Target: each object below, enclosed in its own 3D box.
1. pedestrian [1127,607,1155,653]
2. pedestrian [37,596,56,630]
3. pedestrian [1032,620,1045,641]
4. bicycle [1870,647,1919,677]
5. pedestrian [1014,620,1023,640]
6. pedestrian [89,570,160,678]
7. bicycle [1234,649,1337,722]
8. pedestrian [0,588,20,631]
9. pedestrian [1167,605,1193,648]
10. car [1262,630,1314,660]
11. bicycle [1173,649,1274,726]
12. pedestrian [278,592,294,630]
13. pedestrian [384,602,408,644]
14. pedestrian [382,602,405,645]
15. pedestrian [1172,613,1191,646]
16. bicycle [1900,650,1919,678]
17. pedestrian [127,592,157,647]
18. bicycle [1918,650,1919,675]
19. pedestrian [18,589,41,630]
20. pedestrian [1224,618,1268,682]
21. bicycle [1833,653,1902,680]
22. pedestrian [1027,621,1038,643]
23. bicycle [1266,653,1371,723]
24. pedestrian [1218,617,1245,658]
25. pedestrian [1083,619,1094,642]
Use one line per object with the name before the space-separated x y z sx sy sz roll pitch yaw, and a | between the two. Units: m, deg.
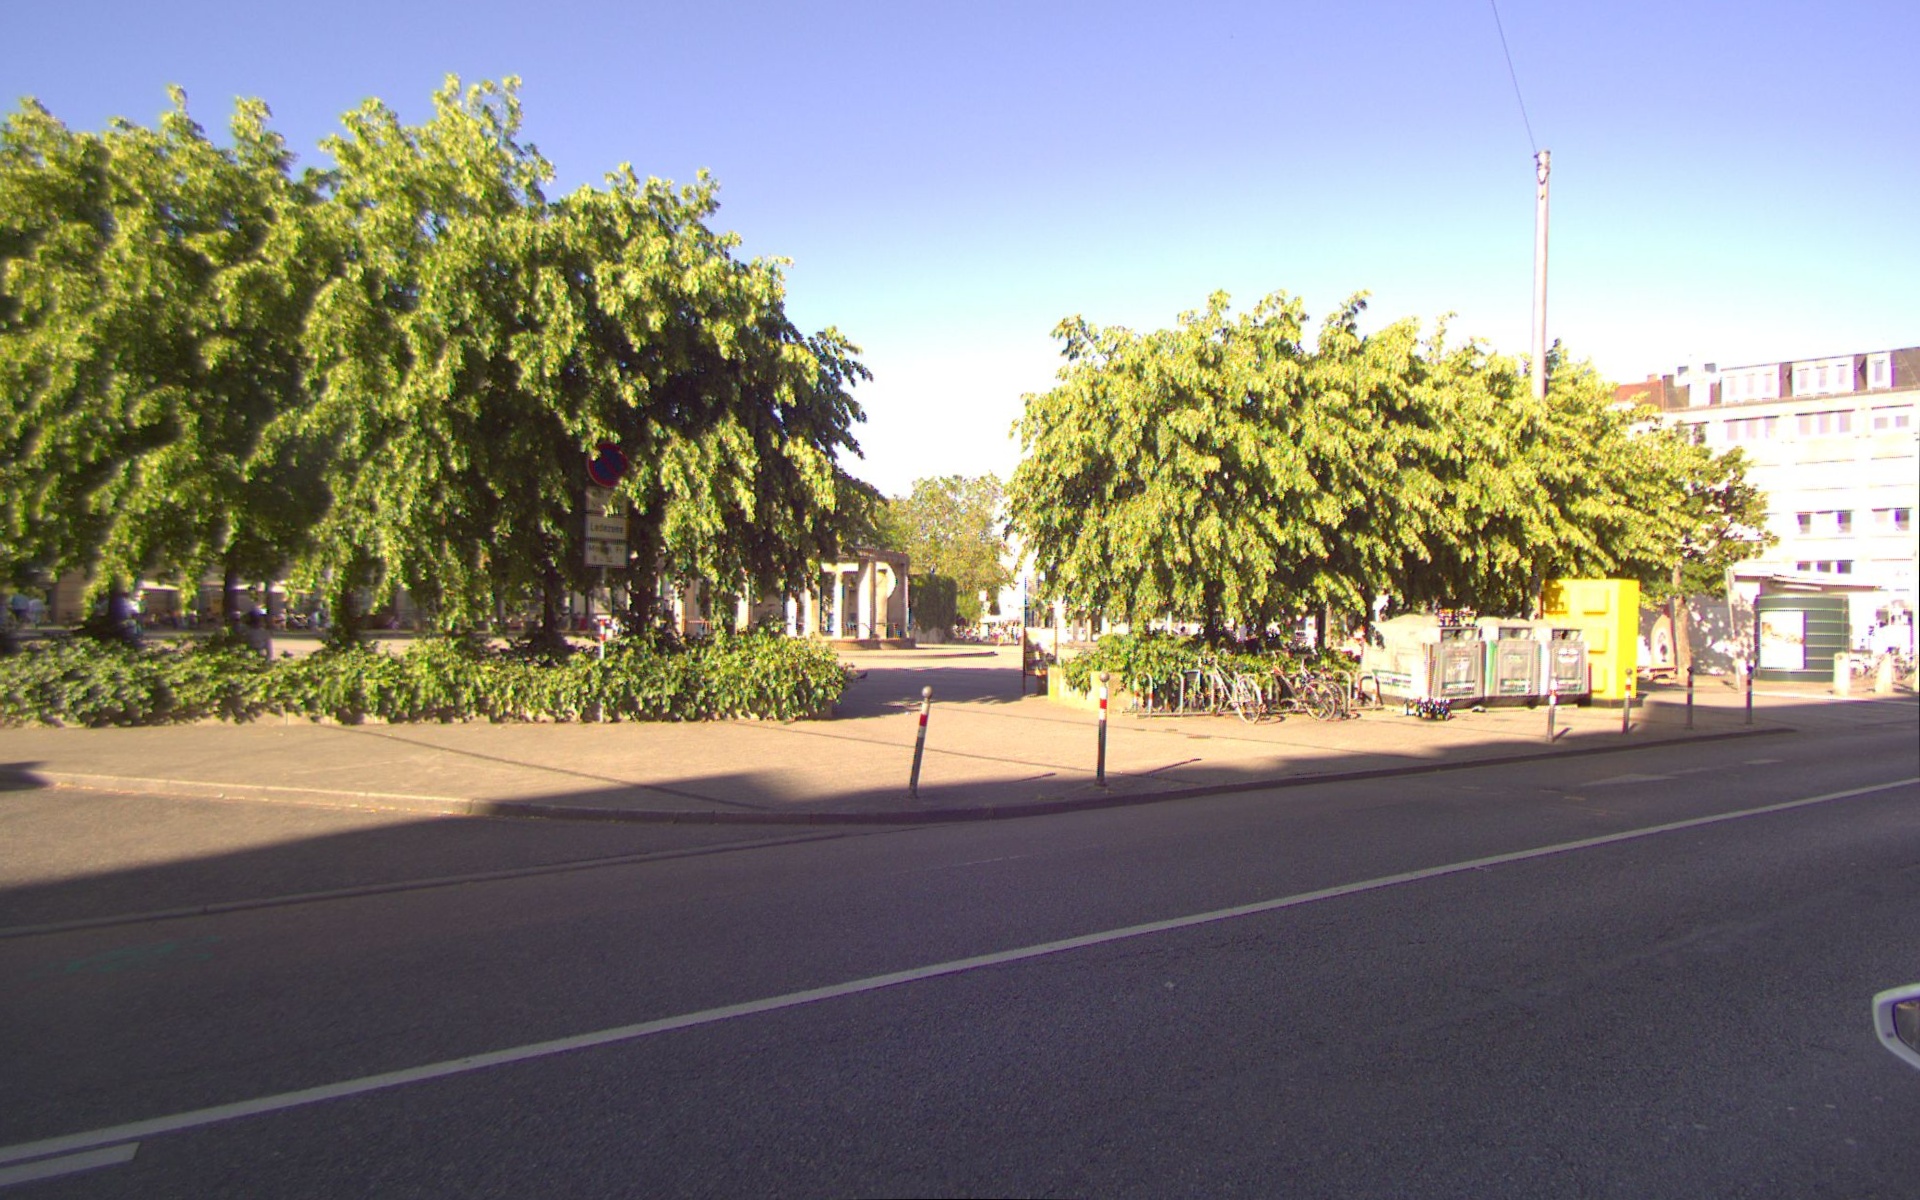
pedestrian | 8.071 1.342 44.794 0.875 2.040 0.896 1 0 -17
pedestrian | -48.006 0.691 52.781 0.599 1.744 0.644 2 0 39
pedestrian | 7.610 2.957 97.579 1.014 2.040 1.159 2 0 -5
bicycle | 33.164 2.172 35.146 0.599 0.946 1.855 1 -1 -30
pedestrian | 5.561 2.857 95.237 0.718 1.862 0.697 2 0 -5
pedestrian | -13.255 0.373 15.944 0.615 1.671 0.654 2 0 -16
bicycle | 5.243 1.363 16.318 0.508 1.016 1.923 2 0 -20
pedestrian | -39.161 0.389 41.354 0.600 1.744 0.643 2 0 45
pedestrian | 10.729 1.280 49.003 0.875 2.040 0.896 1 0 -17
car | 16.349 2.220 50.201 1.658 1.405 3.575 1 -1 5
bicycle | 4.065 1.327 15.647 0.508 1.029 1.930 2 0 -19
pedestrian | -35.362 0.580 52.705 0.669 1.974 0.634 2 0 -33
pedestrian | -23.856 0.987 42.467 0.598 1.744 0.645 2 0 32
pedestrian | -23.867 0.986 42.329 0.599 1.744 0.644 2 0 37
pedestrian | 11.811 1.575 53.483 0.774 1.720 0.763 1 0 -6
bicycle | 35.007 2.330 35.985 0.599 0.946 1.854 2 0 -30
pedestrian | -26.621 0.626 32.681 0.599 1.744 0.644 2 0 41
bicycle | 37.013 2.368 37.408 0.599 0.946 1.854 2 0 -30
pedestrian | -39.672 0.414 42.827 0.600 1.744 0.643 2 0 45
pedestrian | 9.567 1.653 33.598 0.967 2.040 1.042 2 0 -42
bicycle | 30.816 2.246 34.118 0.600 0.802 1.634 2 0 -33
pedestrian | 6.824 2.979 94.265 0.860 2.040 0.902 1 0 -5
bicycle | 5.821 1.403 16.408 0.508 0.968 1.898 2 0 -20
pedestrian | 14.090 1.942 52.178 1.034 2.040 1.038 2 0 -1
pedestrian | 12.711 3.001 99.567 0.860 2.199 0.902 2 0 -5
